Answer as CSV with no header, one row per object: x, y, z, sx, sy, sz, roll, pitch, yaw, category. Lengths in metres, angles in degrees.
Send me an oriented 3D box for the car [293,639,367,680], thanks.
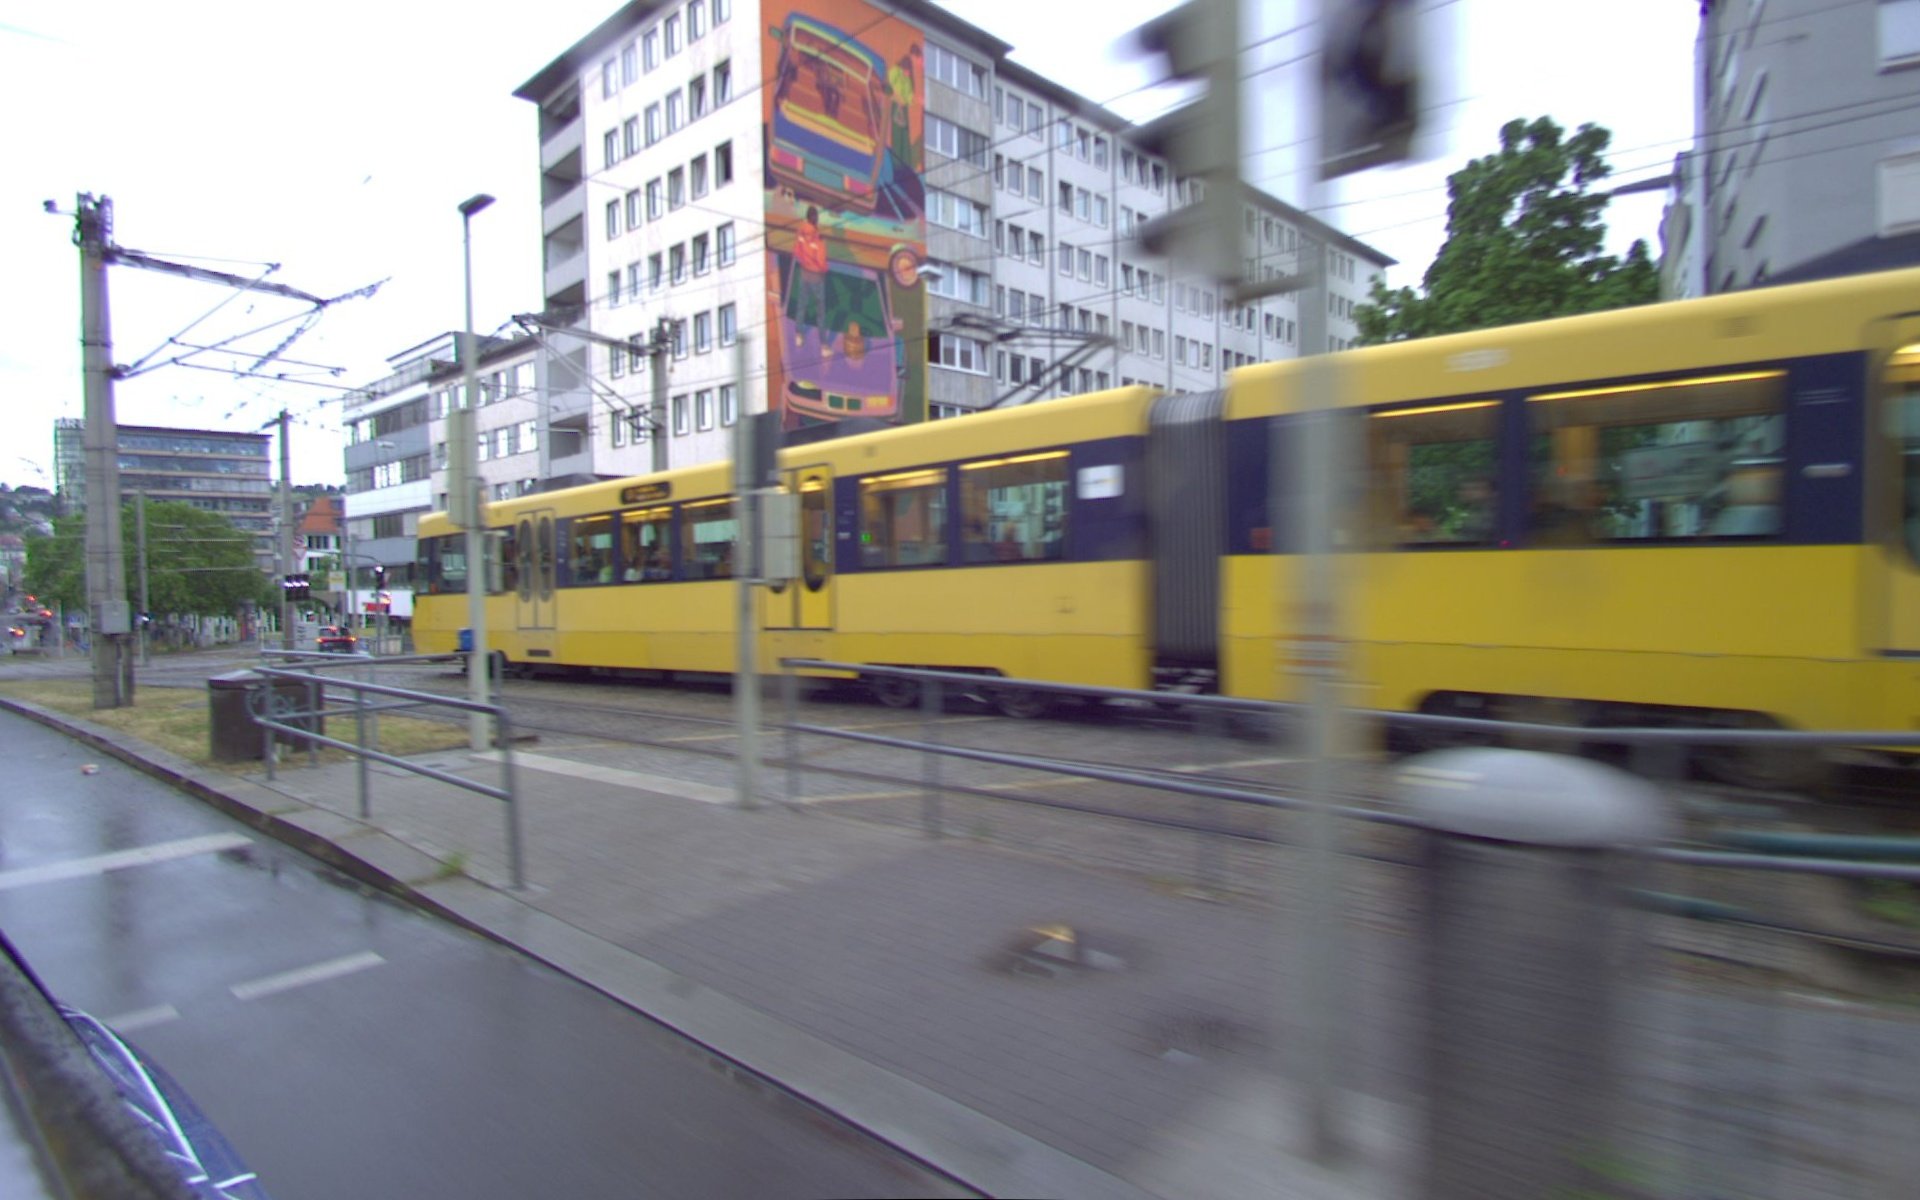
-28.694,2.717,46.038,3.866,1.646,1.801,-5,-2,42,car

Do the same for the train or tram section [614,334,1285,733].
-0.845,-0.487,13.631,9.505,3.719,2.750,-3,0,42,train or tram section

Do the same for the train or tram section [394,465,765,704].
-7.779,-0.111,19.739,8.971,3.719,2.750,-3,0,41,train or tram section

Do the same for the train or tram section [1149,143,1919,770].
6.307,-0.876,7.343,9.505,3.719,2.750,-3,0,42,train or tram section
